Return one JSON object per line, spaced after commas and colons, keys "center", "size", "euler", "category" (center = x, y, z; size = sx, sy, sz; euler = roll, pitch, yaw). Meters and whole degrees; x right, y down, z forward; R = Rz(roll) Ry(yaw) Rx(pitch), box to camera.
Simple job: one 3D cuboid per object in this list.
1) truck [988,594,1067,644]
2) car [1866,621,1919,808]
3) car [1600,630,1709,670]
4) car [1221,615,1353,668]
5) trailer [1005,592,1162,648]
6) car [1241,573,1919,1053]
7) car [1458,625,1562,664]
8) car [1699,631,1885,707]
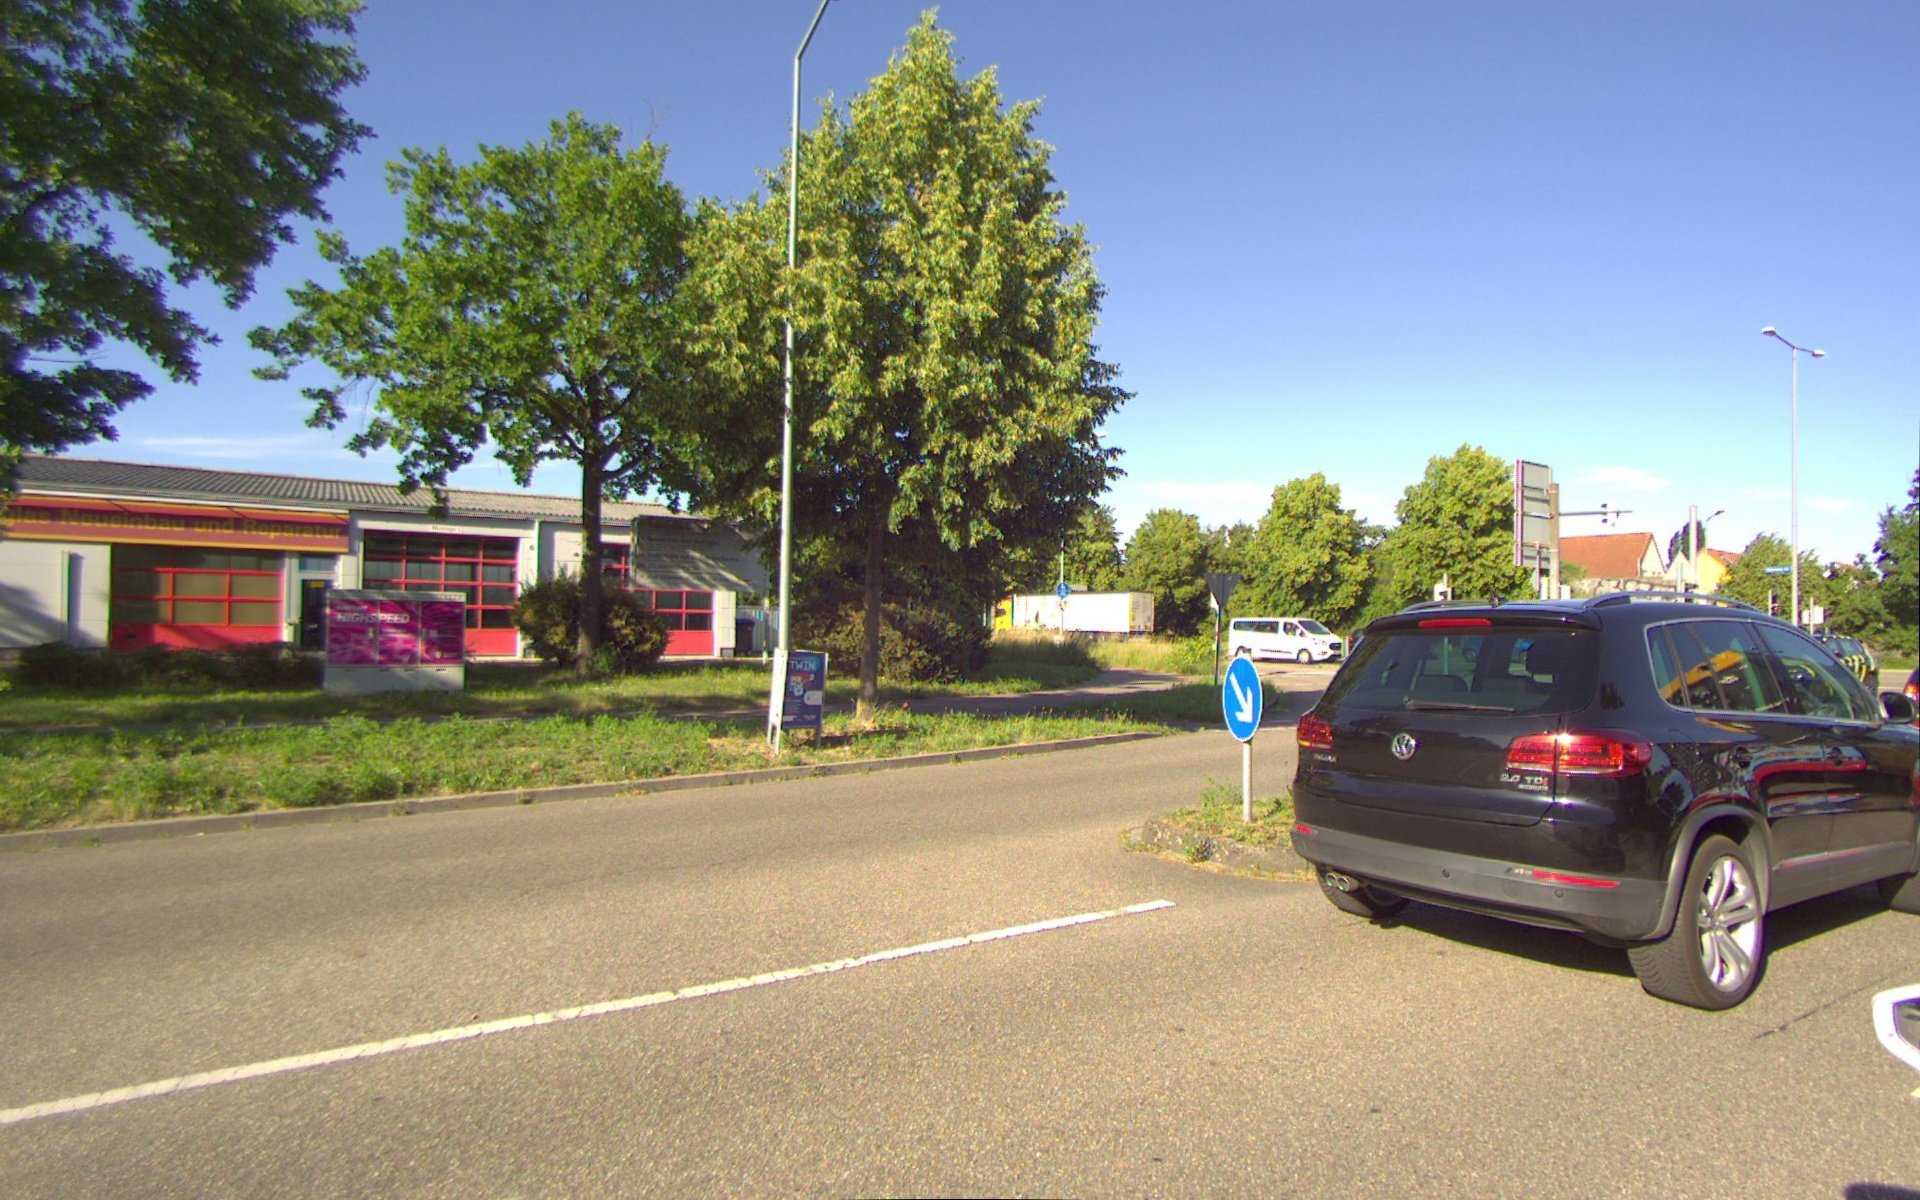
{"center": [5.689, 1.588, 85.094], "size": [3.407, 4.066, 6.433], "euler": [1, -1, -35], "category": "truck"}
{"center": [10.236, 1.006, 9.217], "size": [3.954, 1.610, 1.753], "euler": [1, -3, -31], "category": "car"}
{"center": [32.112, 2.294, 46.531], "size": [1.691, 1.634, 3.781], "euler": [2, 0, -35], "category": "car"}
{"center": [14.465, 1.794, 44.756], "size": [2.160, 2.146, 5.350], "euler": [2, -1, -35], "category": "car"}
{"center": [9.429, 1.535, 79.819], "size": [3.407, 4.066, 14.557], "euler": [1, -1, -35], "category": "trailer"}
{"center": [3.559, 0.821, 5.316], "size": [3.954, 1.675, 1.763], "euler": [1, -3, -31], "category": "car"}
{"center": [23.762, 1.899, 43.499], "size": [1.733, 1.581, 3.559], "euler": [2, -2, -35], "category": "car"}
{"center": [18.280, 1.476, 22.054], "size": [4.030, 1.546, 1.756], "euler": [1, -3, -29], "category": "car"}
